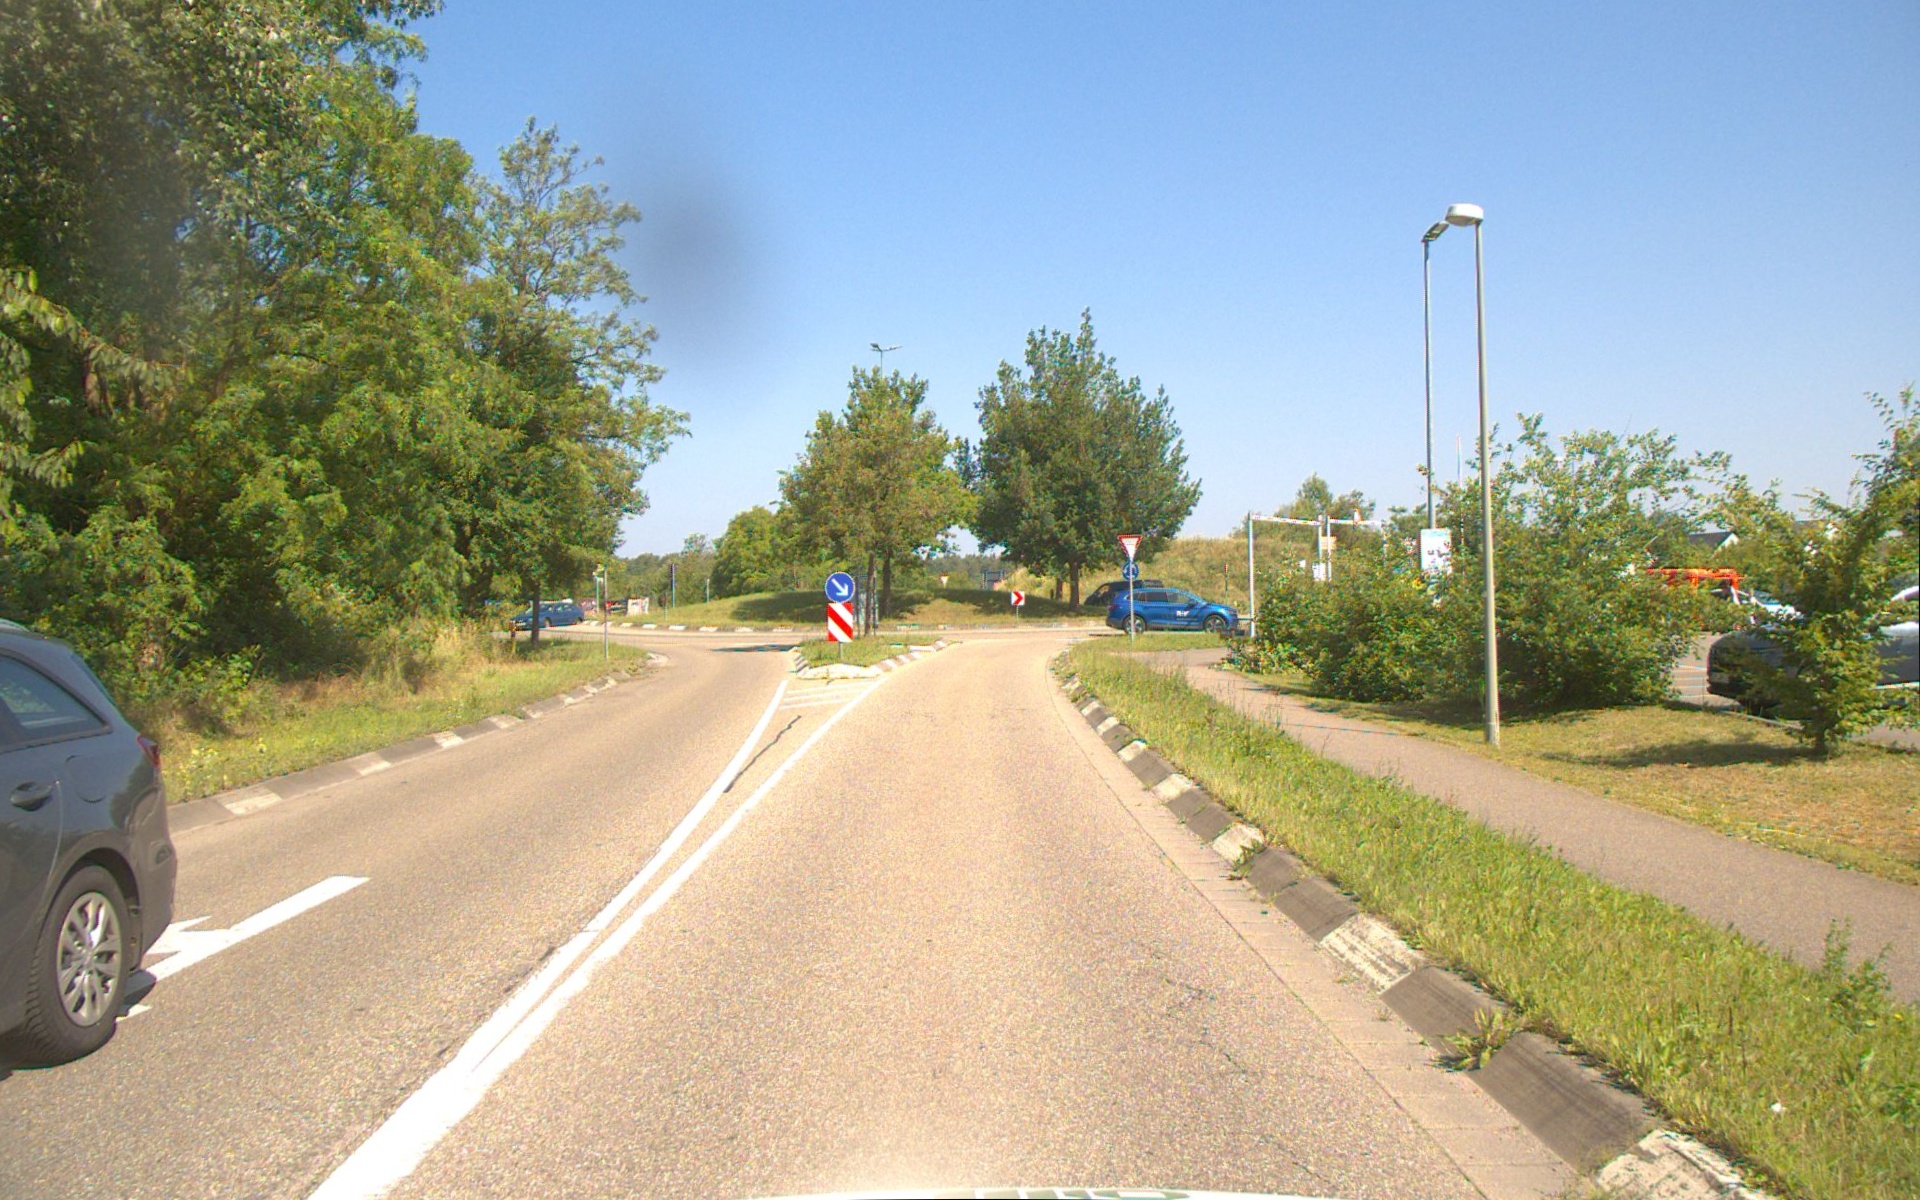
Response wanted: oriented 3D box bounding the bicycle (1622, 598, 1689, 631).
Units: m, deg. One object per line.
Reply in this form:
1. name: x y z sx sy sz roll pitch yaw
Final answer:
1. bicycle: 23.530 0.491 55.968 2.026 1.060 0.554 -1 0 3

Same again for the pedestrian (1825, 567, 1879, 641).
1. pedestrian: 22.523 0.096 41.757 0.861 1.816 0.841 -1 0 -6

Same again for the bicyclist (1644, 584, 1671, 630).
1. bicyclist: 23.611 0.234 55.982 0.661 1.541 0.607 -1 0 3

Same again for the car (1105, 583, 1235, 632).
1. car: 7.157 0.254 56.416 4.319 1.599 1.717 -1 0 7

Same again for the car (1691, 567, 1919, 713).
1. car: 11.552 0.443 20.662 4.034 1.656 1.752 -2 0 0

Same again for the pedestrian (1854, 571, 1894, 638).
1. pedestrian: 23.385 0.115 42.323 0.687 1.677 0.596 -1 0 -1

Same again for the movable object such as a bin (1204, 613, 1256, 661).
1. movable object such as a bin: 6.620 0.891 40.478 0.851 1.140 1.454 0 0 27

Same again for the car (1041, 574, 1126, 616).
1. car: 6.387 -0.258 85.615 3.922 2.049 1.992 -1 0 38

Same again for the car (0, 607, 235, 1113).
1. car: -3.527 0.753 4.078 1.664 1.413 4.292 -1 0 -2

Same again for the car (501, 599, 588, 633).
1. car: -19.129 0.715 76.341 1.794 1.411 4.426 -2 1 18
